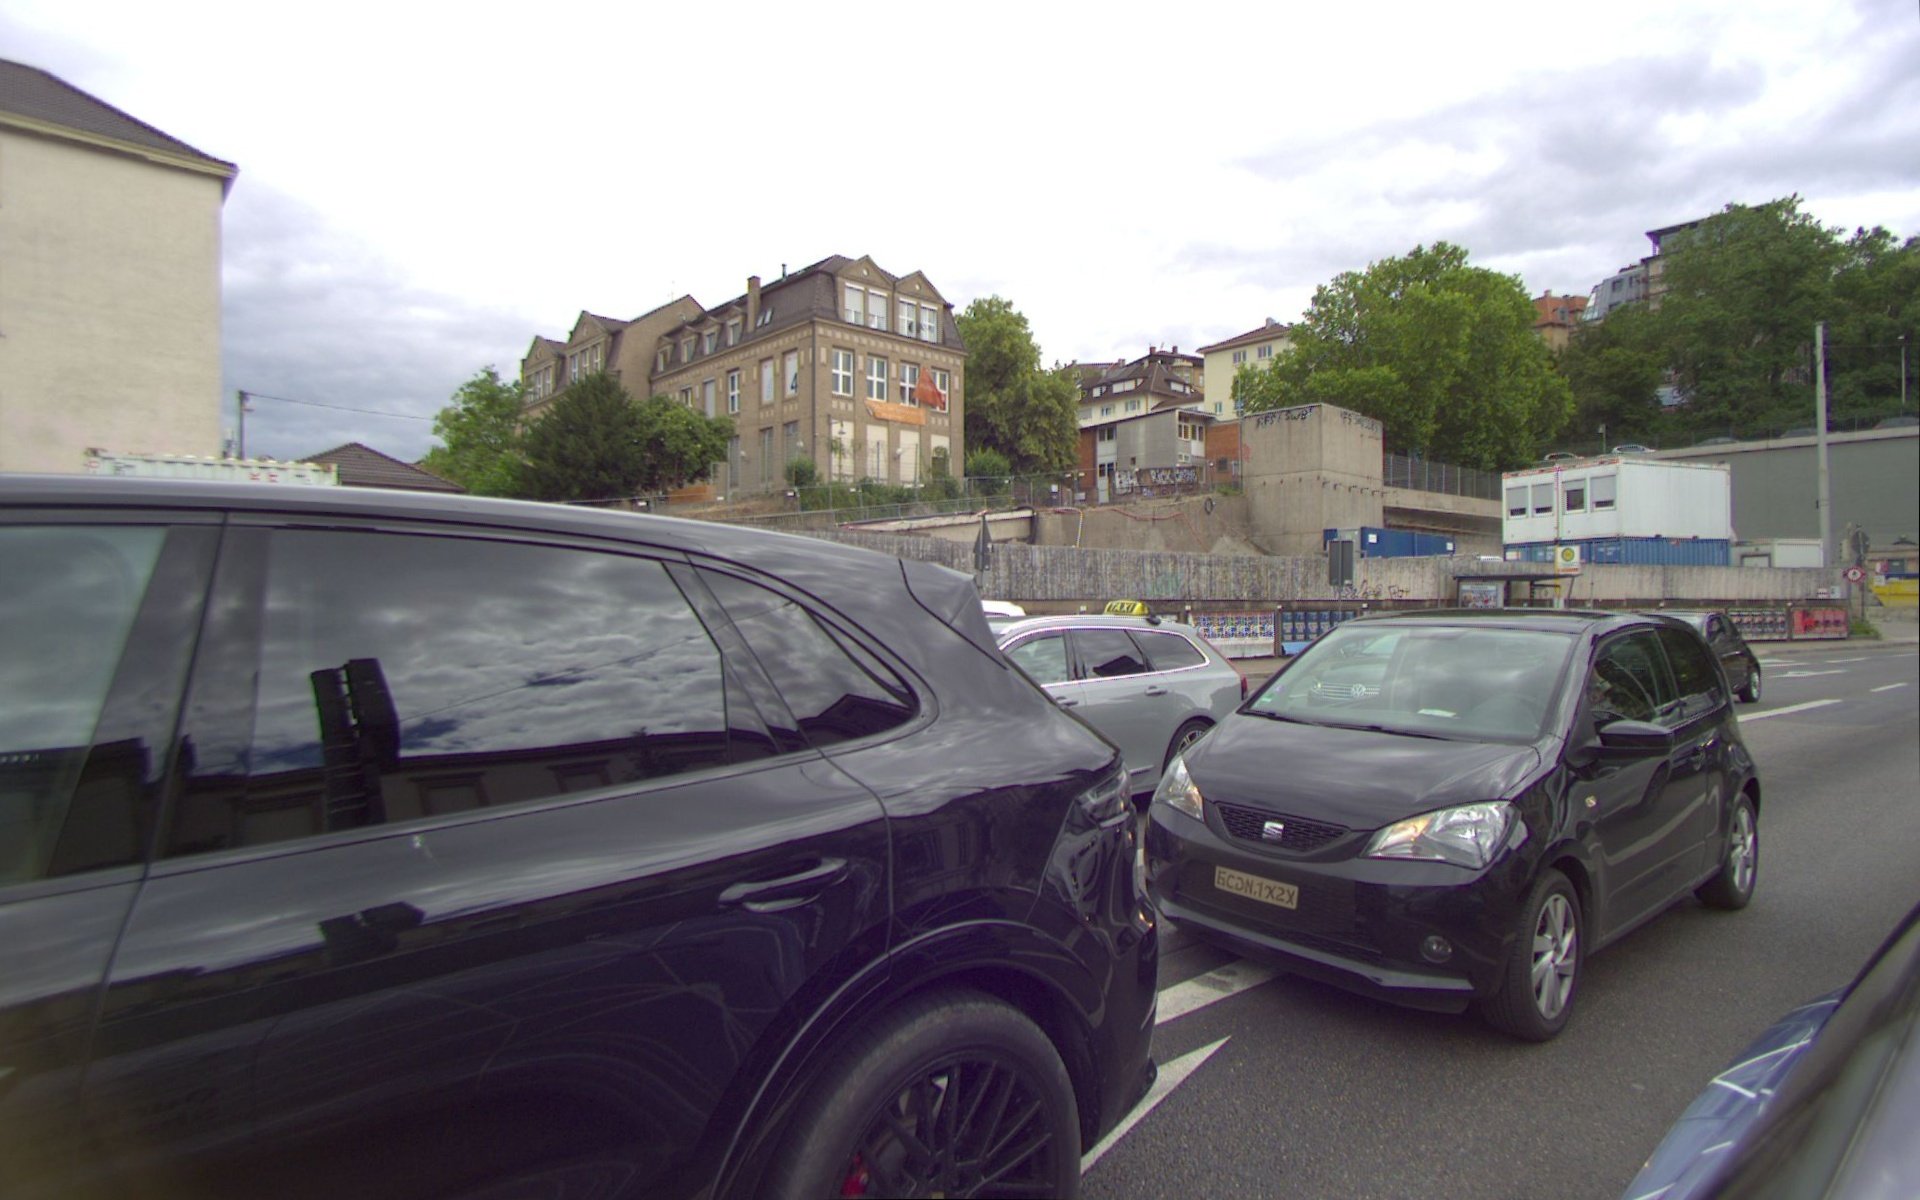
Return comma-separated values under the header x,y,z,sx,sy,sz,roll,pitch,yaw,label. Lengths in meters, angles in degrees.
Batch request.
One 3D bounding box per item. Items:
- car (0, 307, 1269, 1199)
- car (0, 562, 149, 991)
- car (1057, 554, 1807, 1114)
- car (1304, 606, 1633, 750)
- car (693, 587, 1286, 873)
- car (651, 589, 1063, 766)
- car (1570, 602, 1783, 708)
x,y,z,sx,sy,sz,roll,pitch,yaw,label
-1.664,0.559,1.661,4.497,1.689,1.998,-1,0,-39,car
-5.069,0.639,3.451,3.581,1.529,1.826,-1,0,-39,car
2.405,0.635,4.712,3.841,1.575,1.661,-1,0,-39,car
6.018,0.772,11.798,4.139,1.381,1.827,1,0,-38,car
0.394,0.660,7.333,4.142,1.484,1.825,-1,0,-40,car
-0.945,0.636,10.597,4.004,1.484,1.824,-1,0,-42,car
11.378,0.797,16.006,3.711,1.478,1.721,1,-2,-38,car
